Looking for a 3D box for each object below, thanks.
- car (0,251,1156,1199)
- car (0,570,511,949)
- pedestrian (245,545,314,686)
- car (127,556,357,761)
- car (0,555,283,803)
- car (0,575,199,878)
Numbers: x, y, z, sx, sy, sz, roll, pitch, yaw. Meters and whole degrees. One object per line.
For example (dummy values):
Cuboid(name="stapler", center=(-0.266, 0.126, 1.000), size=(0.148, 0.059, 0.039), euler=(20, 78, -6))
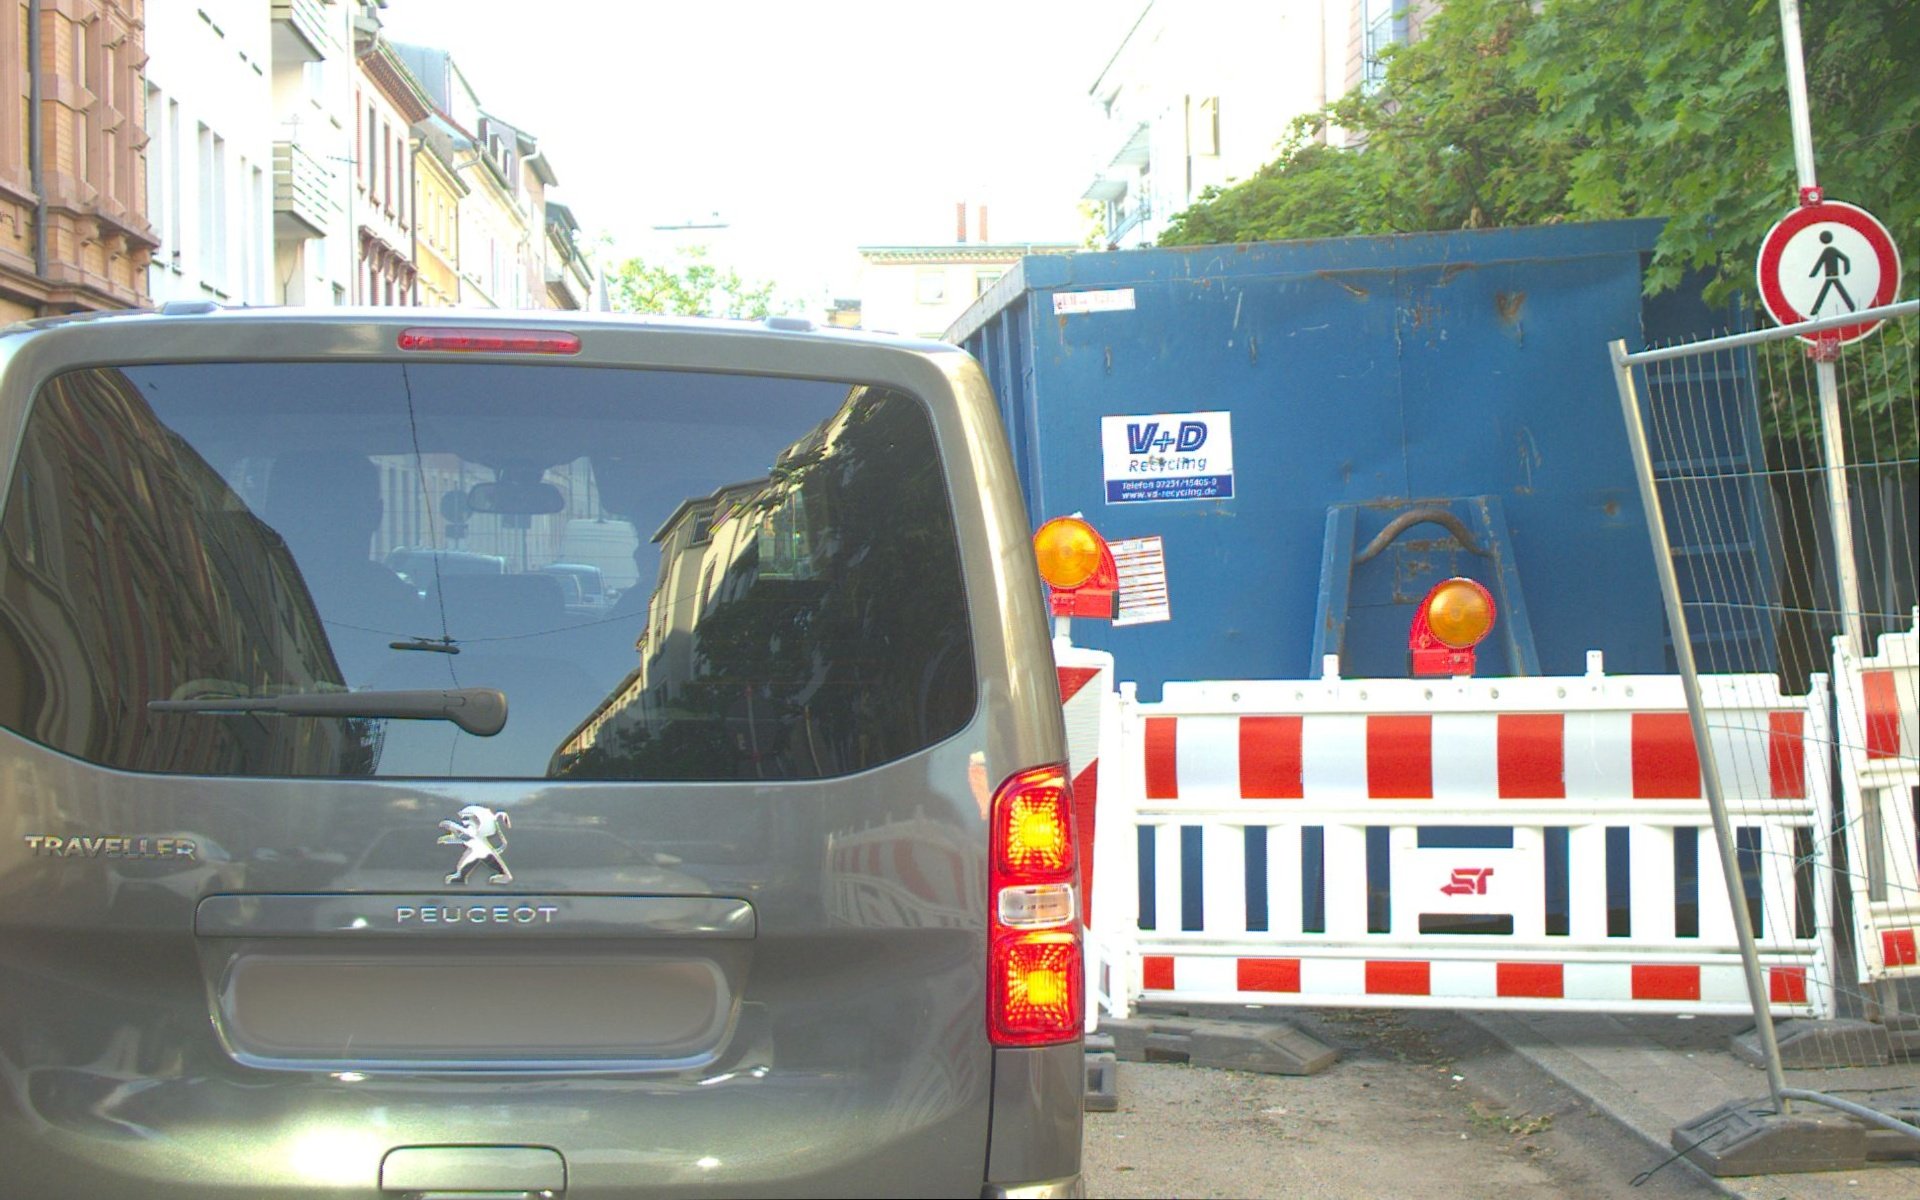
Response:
Cuboid(name="car", center=(-0.910, 0.481, 6.633), size=(1.865, 1.880, 4.236), euler=(0, 0, -7))
Cuboid(name="car", center=(-3.115, 0.643, 15.240), size=(1.656, 1.455, 3.417), euler=(-2, 0, 2))
Cuboid(name="pedestrian", center=(-8.137, 0.176, 41.151), size=(0.739, 1.659, 0.704), euler=(-1, 1, -7))
Cuboid(name="car", center=(-6.462, 0.502, 31.190), size=(1.666, 1.660, 3.092), euler=(4, 0, -7))
Cuboid(name="car", center=(-5.776, 0.512, 24.110), size=(1.655, 1.520, 3.418), euler=(4, 0, -7))
Cuboid(name="car", center=(-5.230, 0.605, 18.803), size=(1.655, 1.455, 3.418), euler=(4, 0, -7))
